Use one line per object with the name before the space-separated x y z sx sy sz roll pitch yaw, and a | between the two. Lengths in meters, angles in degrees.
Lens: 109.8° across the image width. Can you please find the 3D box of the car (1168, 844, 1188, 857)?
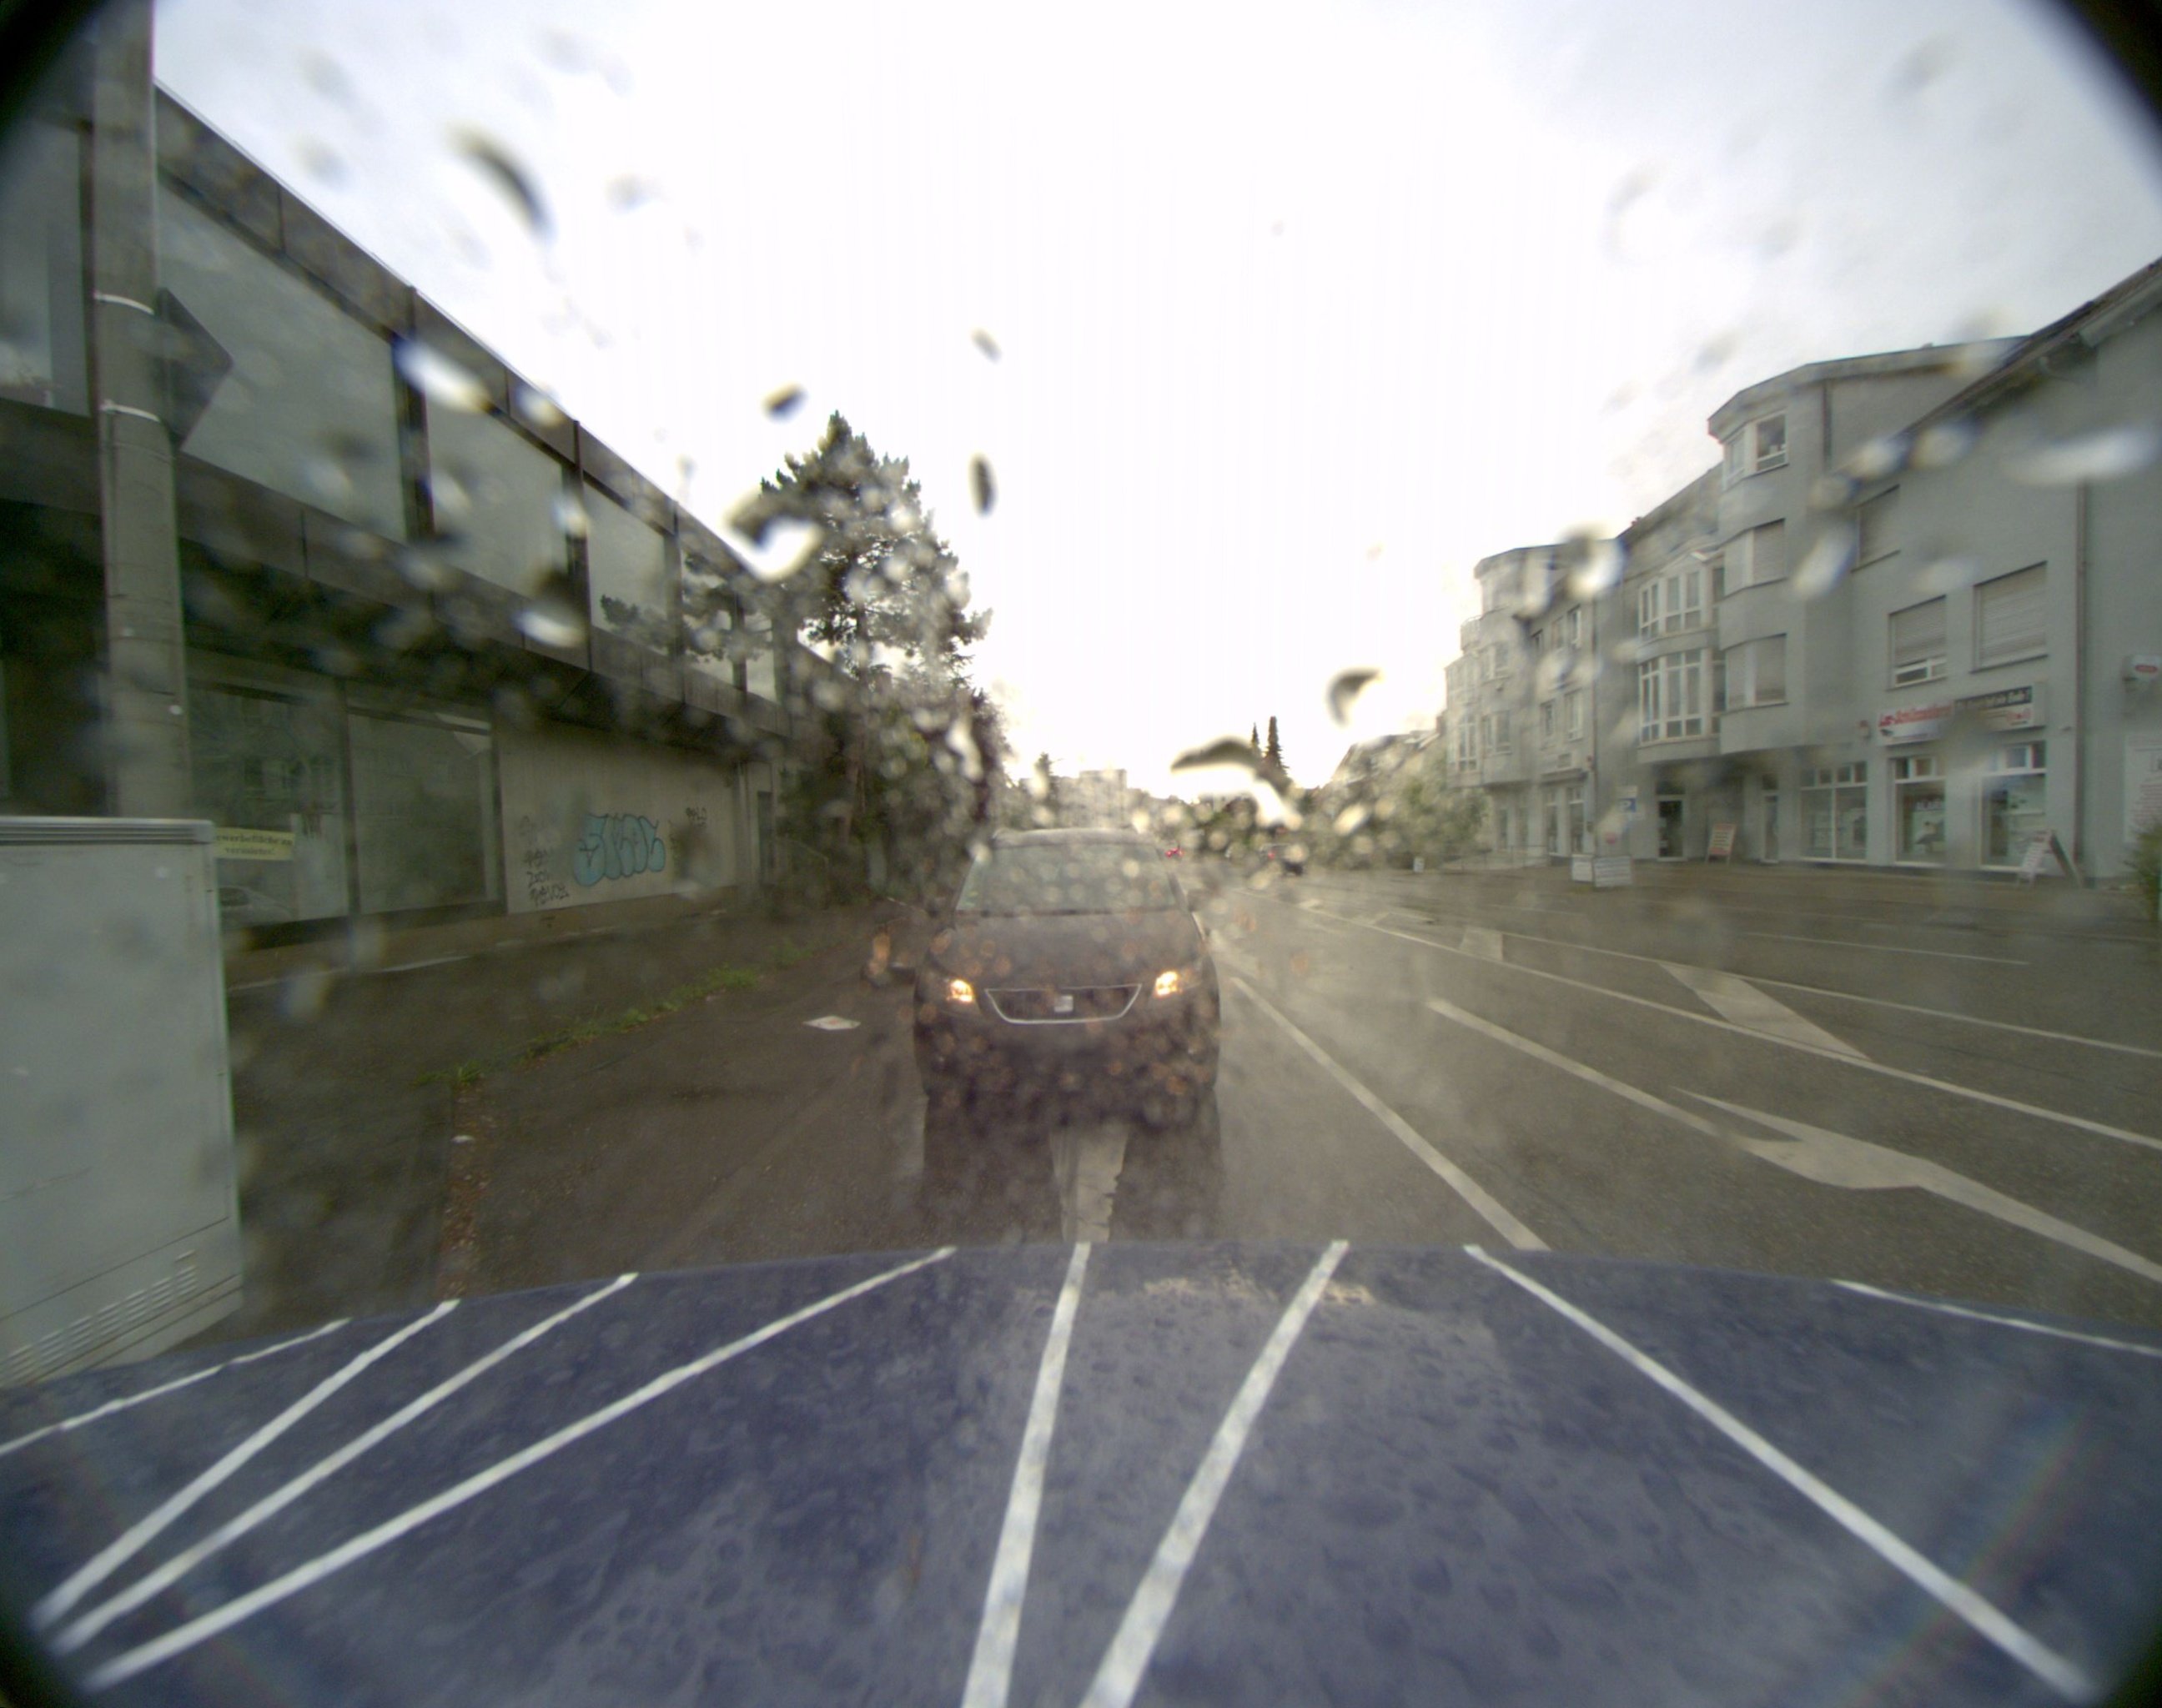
car | 11.763 -0.425 92.187 1.972 1.503 3.999 -2 1 2

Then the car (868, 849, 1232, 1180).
car | -0.112 0.782 6.075 1.754 1.535 4.675 -1 1 1

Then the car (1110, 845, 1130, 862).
car | 4.287 -0.075 83.333 1.998 1.774 3.999 -2 1 1

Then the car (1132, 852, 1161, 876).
car | 5.196 0.749 61.055 1.998 1.723 3.999 -2 1 1

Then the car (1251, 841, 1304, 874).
car | 10.117 0.139 39.402 1.883 1.588 4.185 -1 1 3

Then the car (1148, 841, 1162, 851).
car | 12.502 -1.435 129.243 1.998 1.616 4.538 -2 1 1

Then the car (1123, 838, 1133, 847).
car | 10.350 -2.518 168.542 1.998 1.808 3.999 -2 1 1

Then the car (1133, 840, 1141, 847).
car | 14.300 -2.796 194.155 1.748 1.664 3.591 -2 1 1

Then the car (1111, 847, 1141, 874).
car | 2.834 0.411 48.128 1.663 1.584 3.592 -2 1 1

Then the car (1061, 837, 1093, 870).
car | -0.234 -0.074 51.046 1.998 2.072 3.999 -2 1 1

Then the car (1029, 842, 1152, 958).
car | 0.172 0.678 13.572 1.803 1.675 3.999 -2 1 1
